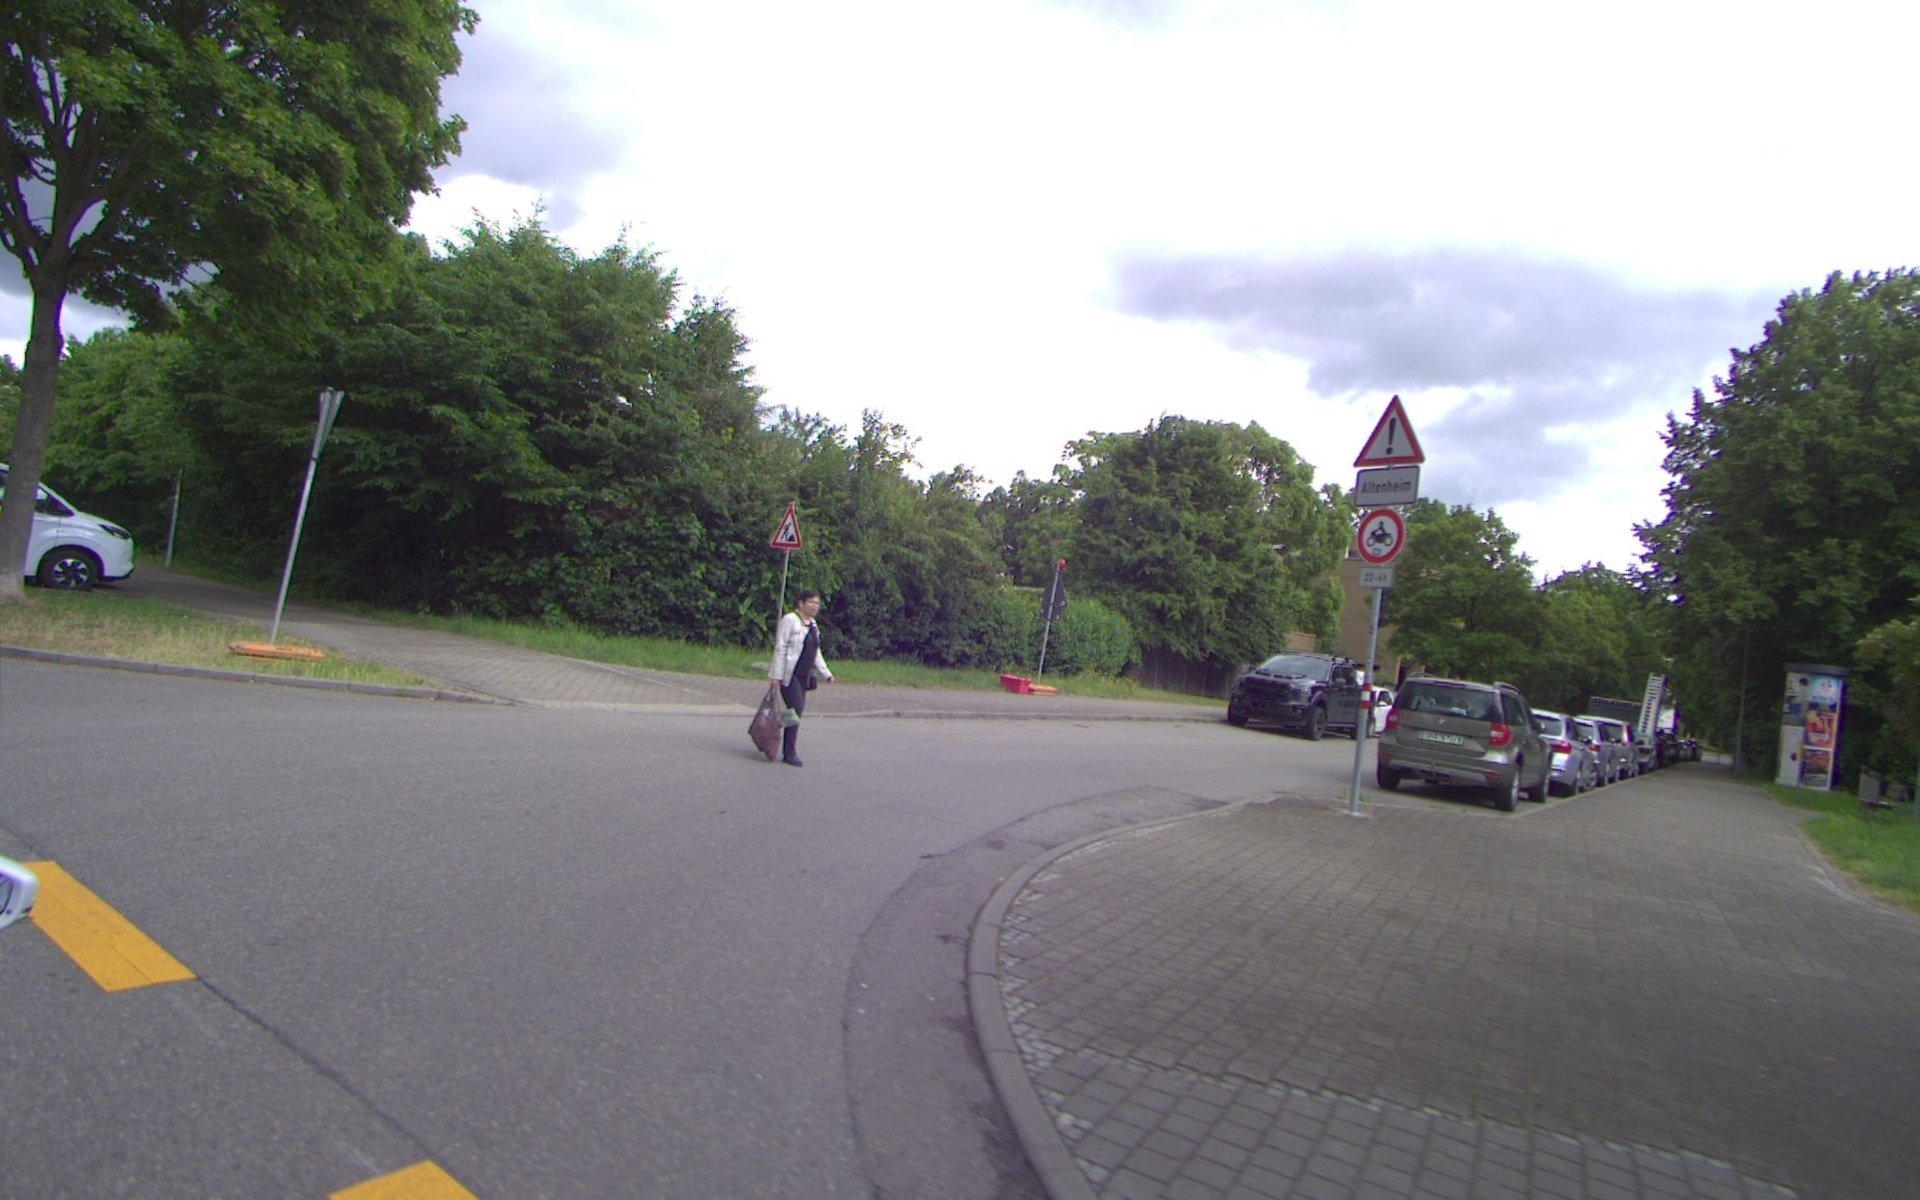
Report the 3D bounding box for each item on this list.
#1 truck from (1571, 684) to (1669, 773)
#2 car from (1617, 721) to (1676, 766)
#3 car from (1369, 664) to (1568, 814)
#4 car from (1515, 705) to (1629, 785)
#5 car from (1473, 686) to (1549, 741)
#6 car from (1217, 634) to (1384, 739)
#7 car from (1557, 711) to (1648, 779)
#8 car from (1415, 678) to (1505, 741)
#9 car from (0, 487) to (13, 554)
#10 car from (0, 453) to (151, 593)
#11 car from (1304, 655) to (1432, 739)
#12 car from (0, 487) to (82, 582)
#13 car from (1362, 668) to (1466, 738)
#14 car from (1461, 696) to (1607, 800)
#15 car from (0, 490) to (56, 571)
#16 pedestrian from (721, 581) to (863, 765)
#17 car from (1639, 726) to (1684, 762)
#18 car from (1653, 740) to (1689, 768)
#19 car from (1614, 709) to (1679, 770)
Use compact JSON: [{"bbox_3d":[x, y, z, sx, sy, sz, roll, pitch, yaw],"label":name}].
[{"bbox_3d":[22.353,4.330,33.956,2.160,2.454,5.508,7,-2,38],"label":"truck"},{"bbox_3d":[29.349,6.108,42.963,1.678,1.543,4.284,7,-2,38],"label":"car"},{"bbox_3d":[7.574,1.997,14.792,1.742,1.688,3.779,7,-1,39],"label":"car"},{"bbox_3d":[14.519,3.393,23.754,1.678,1.444,4.429,7,-2,38],"label":"car"},{"bbox_3d":[25.350,5.228,46.158,2.105,2.080,5.321,7,-2,38],"label":"car"},{"bbox_3d":[8.505,2.207,24.761,2.105,2.080,5.321,7,-2,38],"label":"car"},{"bbox_3d":[18.376,4.105,28.689,1.678,1.543,4.284,7,-2,38],"label":"car"},{"bbox_3d":[20.212,4.459,40.557,2.105,2.080,5.321,7,-2,38],"label":"car"},{"bbox_3d":[-23.937,-2.089,21.688,2.077,1.517,4.729,7,0,33],"label":"car"},{"bbox_3d":[-15.848,-1.392,15.404,1.816,1.996,4.977,7,0,32],"label":"car"},{"bbox_3d":[12.585,3.027,30.789,2.105,2.080,5.321,7,-2,38],"label":"car"},{"bbox_3d":[-17.992,-1.359,16.784,1.818,1.535,4.703,7,0,36],"label":"car"},{"bbox_3d":[16.537,3.777,36.457,2.105,2.080,5.321,7,-2,38],"label":"car"},{"bbox_3d":[10.687,2.684,18.571,1.677,1.444,4.395,7,-2,37],"label":"car"},{"bbox_3d":[-19.895,-1.573,18.354,2.025,1.451,4.722,7,0,37],"label":"car"},{"bbox_3d":[-1.599,0.697,9.606,0.797,1.595,0.835,7,-1,37],"label":"pedestrian"},{"bbox_3d":[38.708,7.907,55.494,1.678,1.648,4.284,7,-2,38],"label":"car"},{"bbox_3d":[48.481,10.468,68.530,1.678,1.543,4.284,7,-2,38],"label":"car"},{"bbox_3d":[26.883,5.444,39.338,1.678,2.020,4.284,7,-2,38],"label":"car"}]
